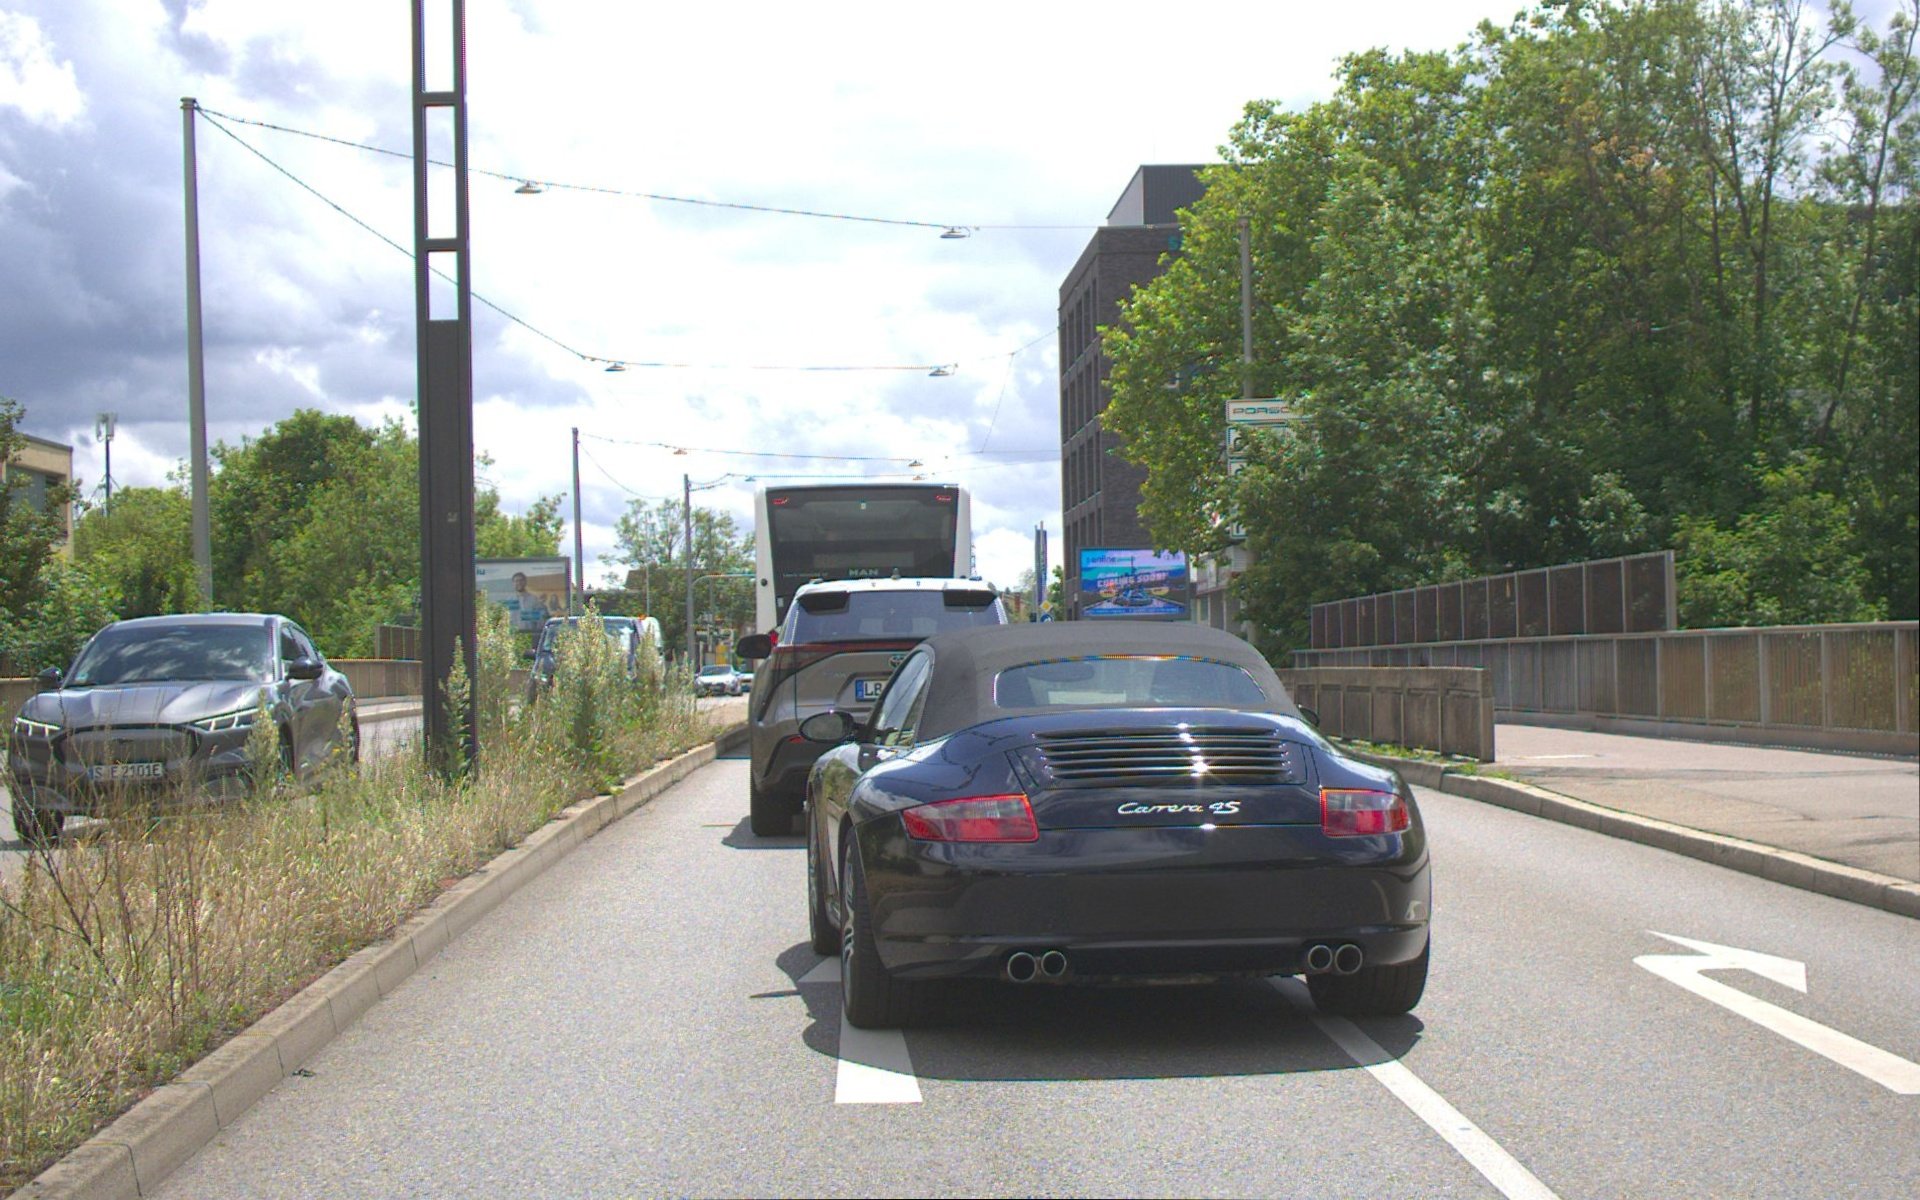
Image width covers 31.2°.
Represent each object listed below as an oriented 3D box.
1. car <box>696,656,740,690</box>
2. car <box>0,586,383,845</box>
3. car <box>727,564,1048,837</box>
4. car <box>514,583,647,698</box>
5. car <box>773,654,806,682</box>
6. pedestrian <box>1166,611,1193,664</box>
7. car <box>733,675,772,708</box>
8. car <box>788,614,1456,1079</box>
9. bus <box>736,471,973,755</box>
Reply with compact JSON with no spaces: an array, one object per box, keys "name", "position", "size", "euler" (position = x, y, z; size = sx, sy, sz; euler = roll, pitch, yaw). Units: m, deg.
[{"name":"car","position":[-10.209,3.074,145.143],"size":[1.637,1.359,4.194],"euler":[-1,-1,-1]},{"name":"car","position":[-5.533,0.766,25.243],"size":[1.878,1.621,4.444],"euler":[-3,1,-1]},{"name":"car","position":[-0.443,0.569,22.358],"size":[1.879,1.588,4.230],"euler":[0,1,0]},{"name":"car","position":[-6.541,0.683,59.676],"size":[1.993,1.882,4.869],"euler":[-1,0,-3]},{"name":"car","position":[-9.066,3.623,183.483],"size":[1.628,1.426,4.000],"euler":[-1,-1,-1]},{"name":"pedestrian","position":[7.028,1.198,110.060],"size":[0.681,1.691,0.597],"euler":[-1,-2,24]},{"name":"car","position":[-10.026,4.410,166.311],"size":[1.810,1.555,4.207],"euler":[0,-1,-2]},{"name":"car","position":[0.382,0.722,12.069],"size":[1.719,1.271,4.089],"euler":[0,1,-6]},{"name":"bus","position":[-1.250,-0.044,45.536],"size":[2.689,3.244,12.058],"euler":[1,2,0]}]
